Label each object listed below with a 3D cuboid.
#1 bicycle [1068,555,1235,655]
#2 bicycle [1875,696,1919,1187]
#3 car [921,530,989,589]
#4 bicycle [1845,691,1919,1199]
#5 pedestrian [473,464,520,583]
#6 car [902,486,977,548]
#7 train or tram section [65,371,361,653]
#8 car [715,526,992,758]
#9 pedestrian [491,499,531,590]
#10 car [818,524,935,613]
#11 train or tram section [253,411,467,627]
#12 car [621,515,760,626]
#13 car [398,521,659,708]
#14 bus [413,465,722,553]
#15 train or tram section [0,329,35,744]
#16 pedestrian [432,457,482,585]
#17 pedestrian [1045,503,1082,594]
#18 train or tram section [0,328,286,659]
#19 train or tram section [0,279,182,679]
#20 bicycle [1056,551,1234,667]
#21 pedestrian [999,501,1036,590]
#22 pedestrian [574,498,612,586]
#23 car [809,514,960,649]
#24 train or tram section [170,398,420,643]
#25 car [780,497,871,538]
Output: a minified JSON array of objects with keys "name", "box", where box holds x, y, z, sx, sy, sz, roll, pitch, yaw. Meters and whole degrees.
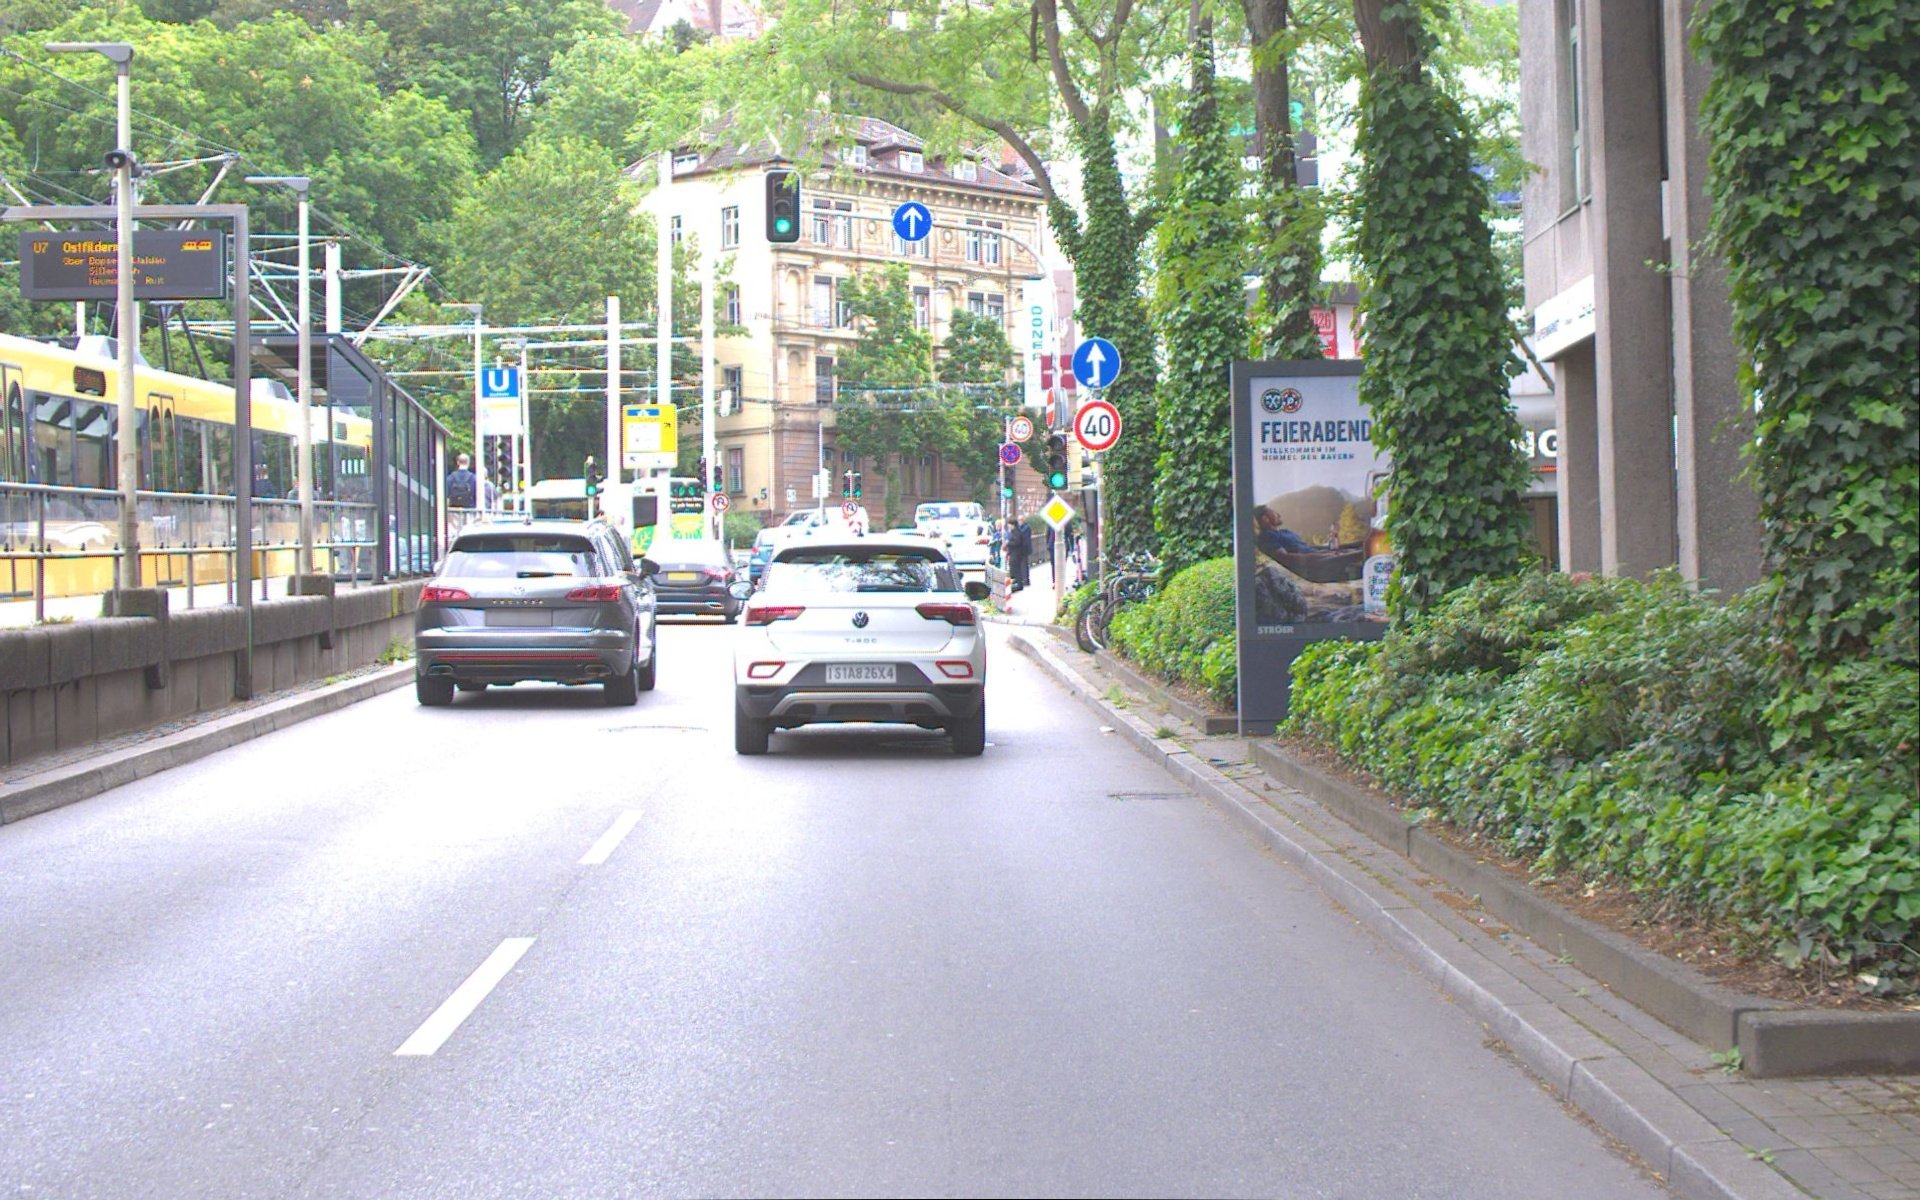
[{"name":"bicycle","box":[2.220,0.062,39.721,1.881,1.133,0.808,1,-1,6]},{"name":"bicycle","box":[3.052,0.713,7.474,1.915,1.073,0.613,-3,0,-3]},{"name":"car","box":[-0.126,-1.192,103.236,1.885,1.678,4.161,1,-1,2]},{"name":"bicycle","box":[2.517,0.708,6.254,1.620,1.124,0.613,-3,0,4]},{"name":"pedestrian","box":[-7.956,-1.302,59.054,0.762,2.007,0.838,1,-1,-7]},{"name":"car","box":[-0.694,-2.935,121.893,2.365,2.007,5.147,1,-1,3]},{"name":"train or tram section","box":[-10.348,-1.176,48.308,2.813,3.654,6.752,1,0,-1]},{"name":"car","box":[-0.707,0.264,25.533,1.837,1.578,4.157,0,1,1]},{"name":"pedestrian","box":[-10.113,-1.248,77.451,0.762,2.007,0.838,1,-1,-1]},{"name":"car","box":[-1.686,-0.595,68.073,1.884,1.678,4.162,1,-1,-7]},{"name":"train or tram section","box":[-10.707,-1.406,61.970,2.813,3.654,6.752,1,0,-1]},{"name":"car","box":[-4.527,-0.462,58.247,1.912,1.684,3.999,1,-2,2]},{"name":"car","box":[-3.918,0.091,31.857,1.993,1.630,4.000,0,1,-1]},{"name":"bus","box":[-15.064,-3.386,130.811,13.311,3.054,3.375,0,-1,40]},{"name":"train or tram section","box":[-9.804,-0.550,28.040,2.813,3.654,6.752,1,0,-1]},{"name":"pedestrian","box":[-8.038,-1.261,54.957,0.762,2.007,0.838,1,-1,-7]},{"name":"pedestrian","box":[2.307,-1.135,76.361,0.762,2.007,0.838,1,-1,5]},{"name":"train or tram section","box":[-10.158,-1.209,41.573,2.813,3.654,6.752,1,0,-1]},{"name":"train or tram section","box":[-9.988,-1.147,34.818,2.813,3.654,6.752,1,0,-1]},{"name":"bicycle","box":[2.061,0.104,38.229,1.881,1.262,0.764,0,-1,11]},{"name":"pedestrian","box":[1.320,-1.244,78.660,0.762,2.007,0.838,1,-1,5]},{"name":"pedestrian","box":[-8.473,-1.334,79.456,0.762,2.007,0.838,1,-1,0]},{"name":"car","box":[-0.985,-0.213,45.528,1.885,1.678,4.161,1,-1,-1]},{"name":"train or tram section","box":[-10.527,-1.223,55.051,2.813,3.654,6.752,1,0,-1]},{"name":"car","box":[-5.767,-3.547,148.041,1.915,1.683,3.992,2,1,33]}]
